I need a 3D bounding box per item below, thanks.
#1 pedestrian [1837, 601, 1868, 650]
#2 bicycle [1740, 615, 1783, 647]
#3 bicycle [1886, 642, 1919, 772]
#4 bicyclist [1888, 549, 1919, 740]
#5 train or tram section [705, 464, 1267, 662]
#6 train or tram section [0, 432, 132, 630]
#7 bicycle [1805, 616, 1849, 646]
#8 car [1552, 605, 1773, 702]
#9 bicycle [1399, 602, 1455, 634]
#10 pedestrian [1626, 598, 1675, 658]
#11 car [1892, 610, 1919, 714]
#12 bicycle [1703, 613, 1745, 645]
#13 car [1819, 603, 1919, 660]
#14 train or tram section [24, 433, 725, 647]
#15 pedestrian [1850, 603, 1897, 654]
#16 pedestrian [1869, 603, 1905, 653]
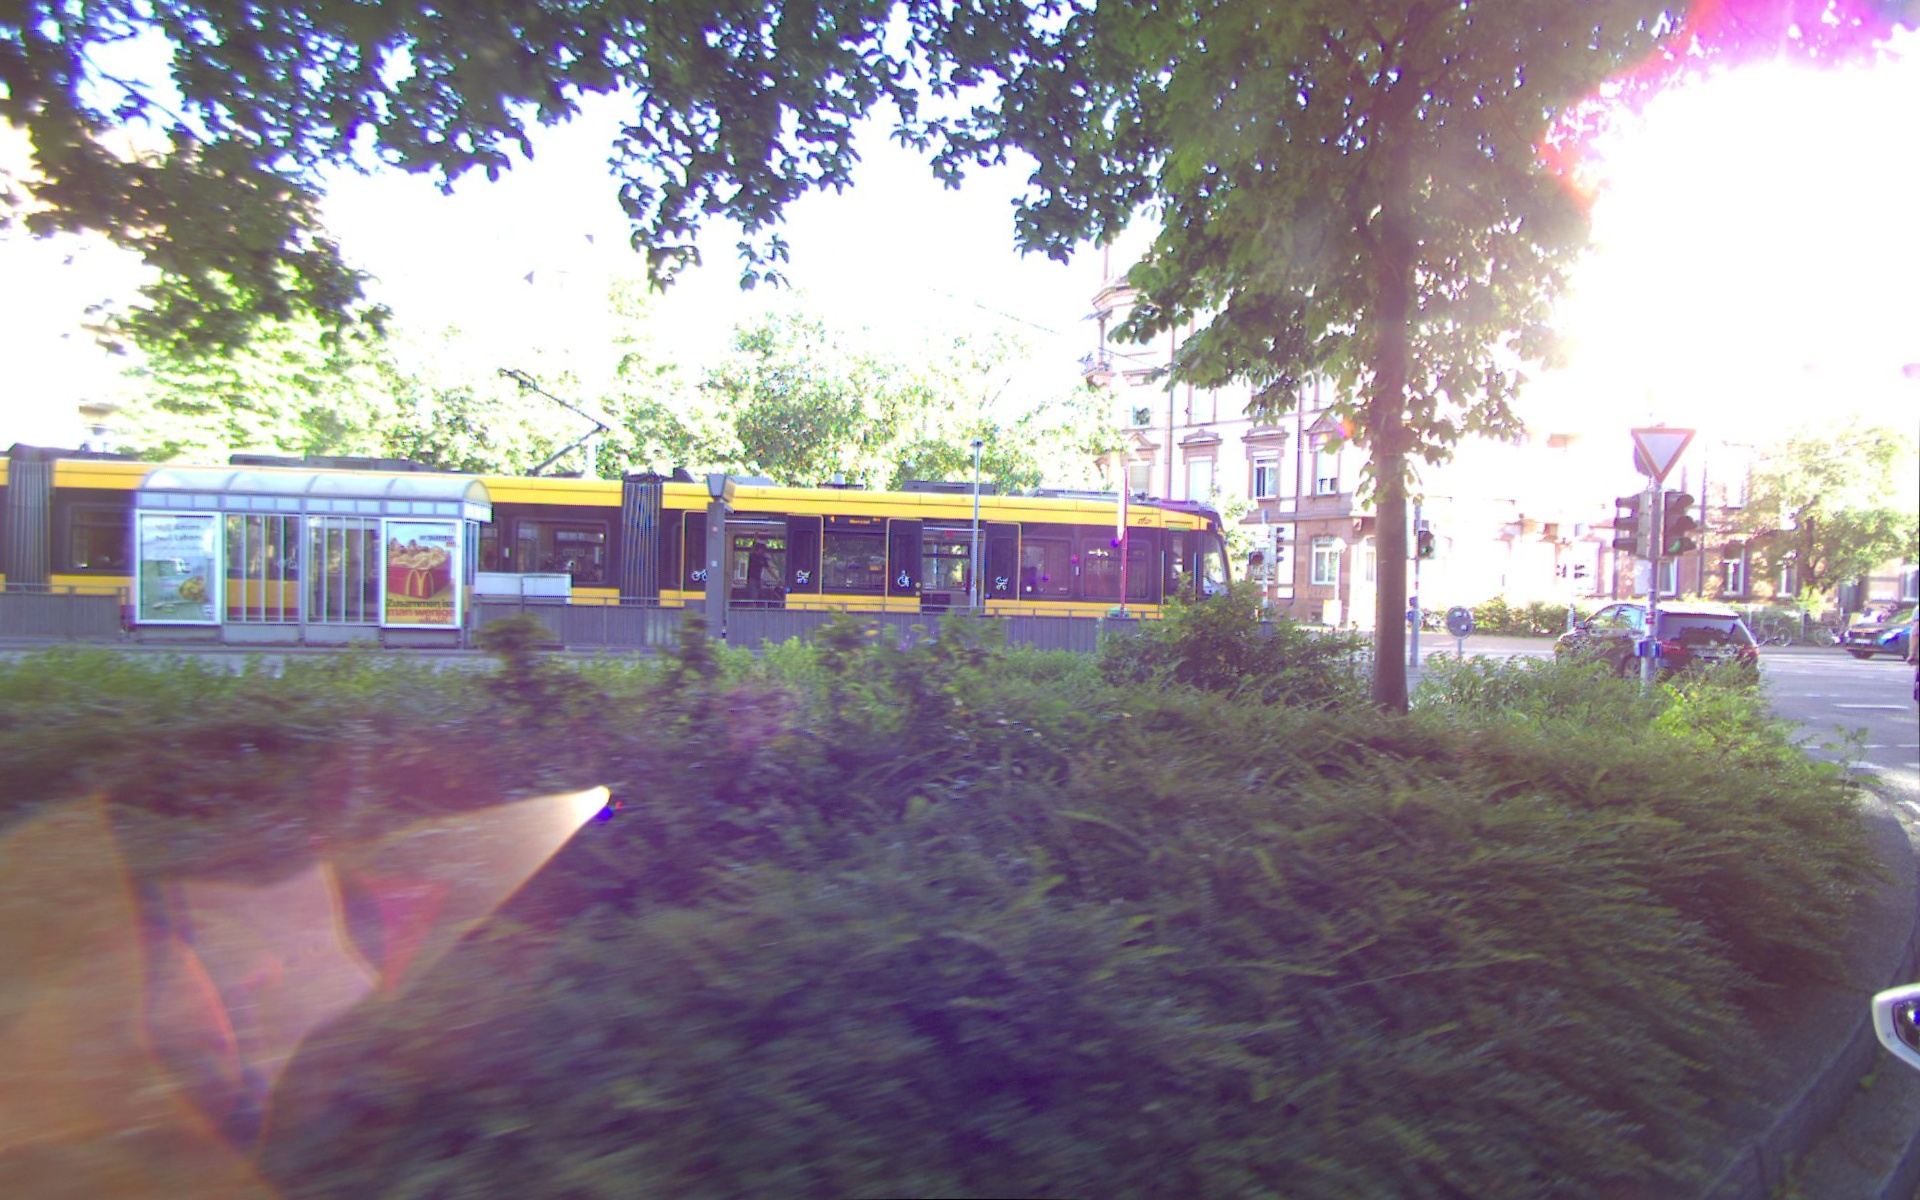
[{"bbox_3d":[32.784,0.934,36.908,0.623,1.738,0.521,2,1,6],"label":"pedestrian"},{"bbox_3d":[29.817,1.145,37.378,1.209,1.122,0.443,1,2,-1],"label":"bicycle"},{"bbox_3d":[10.203,1.086,10.412,0.801,1.200,2.215,2,1,41],"label":"bicycle"},{"bbox_3d":[10.223,0.460,10.415,0.785,1.939,0.940,3,2,41],"label":"bicyclist"},{"bbox_3d":[0.568,-0.716,22.037,11.582,3.668,2.797,2,1,-7],"label":"train or tram section"},{"bbox_3d":[-23.453,-1.458,18.972,12.446,3.605,2.770,2,1,-7],"label":"train or tram section"},{"bbox_3d":[32.372,1.147,37.500,1.209,1.052,0.443,1,2,-2],"label":"bicycle"},{"bbox_3d":[12.547,0.886,18.258,1.759,1.562,3.862,0,-1,8],"label":"car"},{"bbox_3d":[18.544,0.717,39.928,1.930,1.122,0.442,4,2,28],"label":"bicycle"},{"bbox_3d":[19.981,0.795,29.066,0.719,1.657,0.895,0,4,-38],"label":"pedestrian"},{"bbox_3d":[15.332,1.032,14.178,1.940,1.606,4.469,4,2,27],"label":"car"},{"bbox_3d":[28.421,1.068,37.380,1.209,1.122,0.443,1,2,-1],"label":"bicycle"},{"bbox_3d":[30.091,1.021,31.805,4.328,1.672,1.946,2,1,-6],"label":"car"},{"bbox_3d":[-11.224,-1.084,20.528,12.190,3.635,2.783,2,1,-7],"label":"train or tram section"},{"bbox_3d":[32.248,1.001,35.480,0.880,1.688,0.712,2,4,10],"label":"pedestrian"},{"bbox_3d":[33.335,0.999,36.140,0.623,1.738,0.664,2,1,6],"label":"pedestrian"}]
